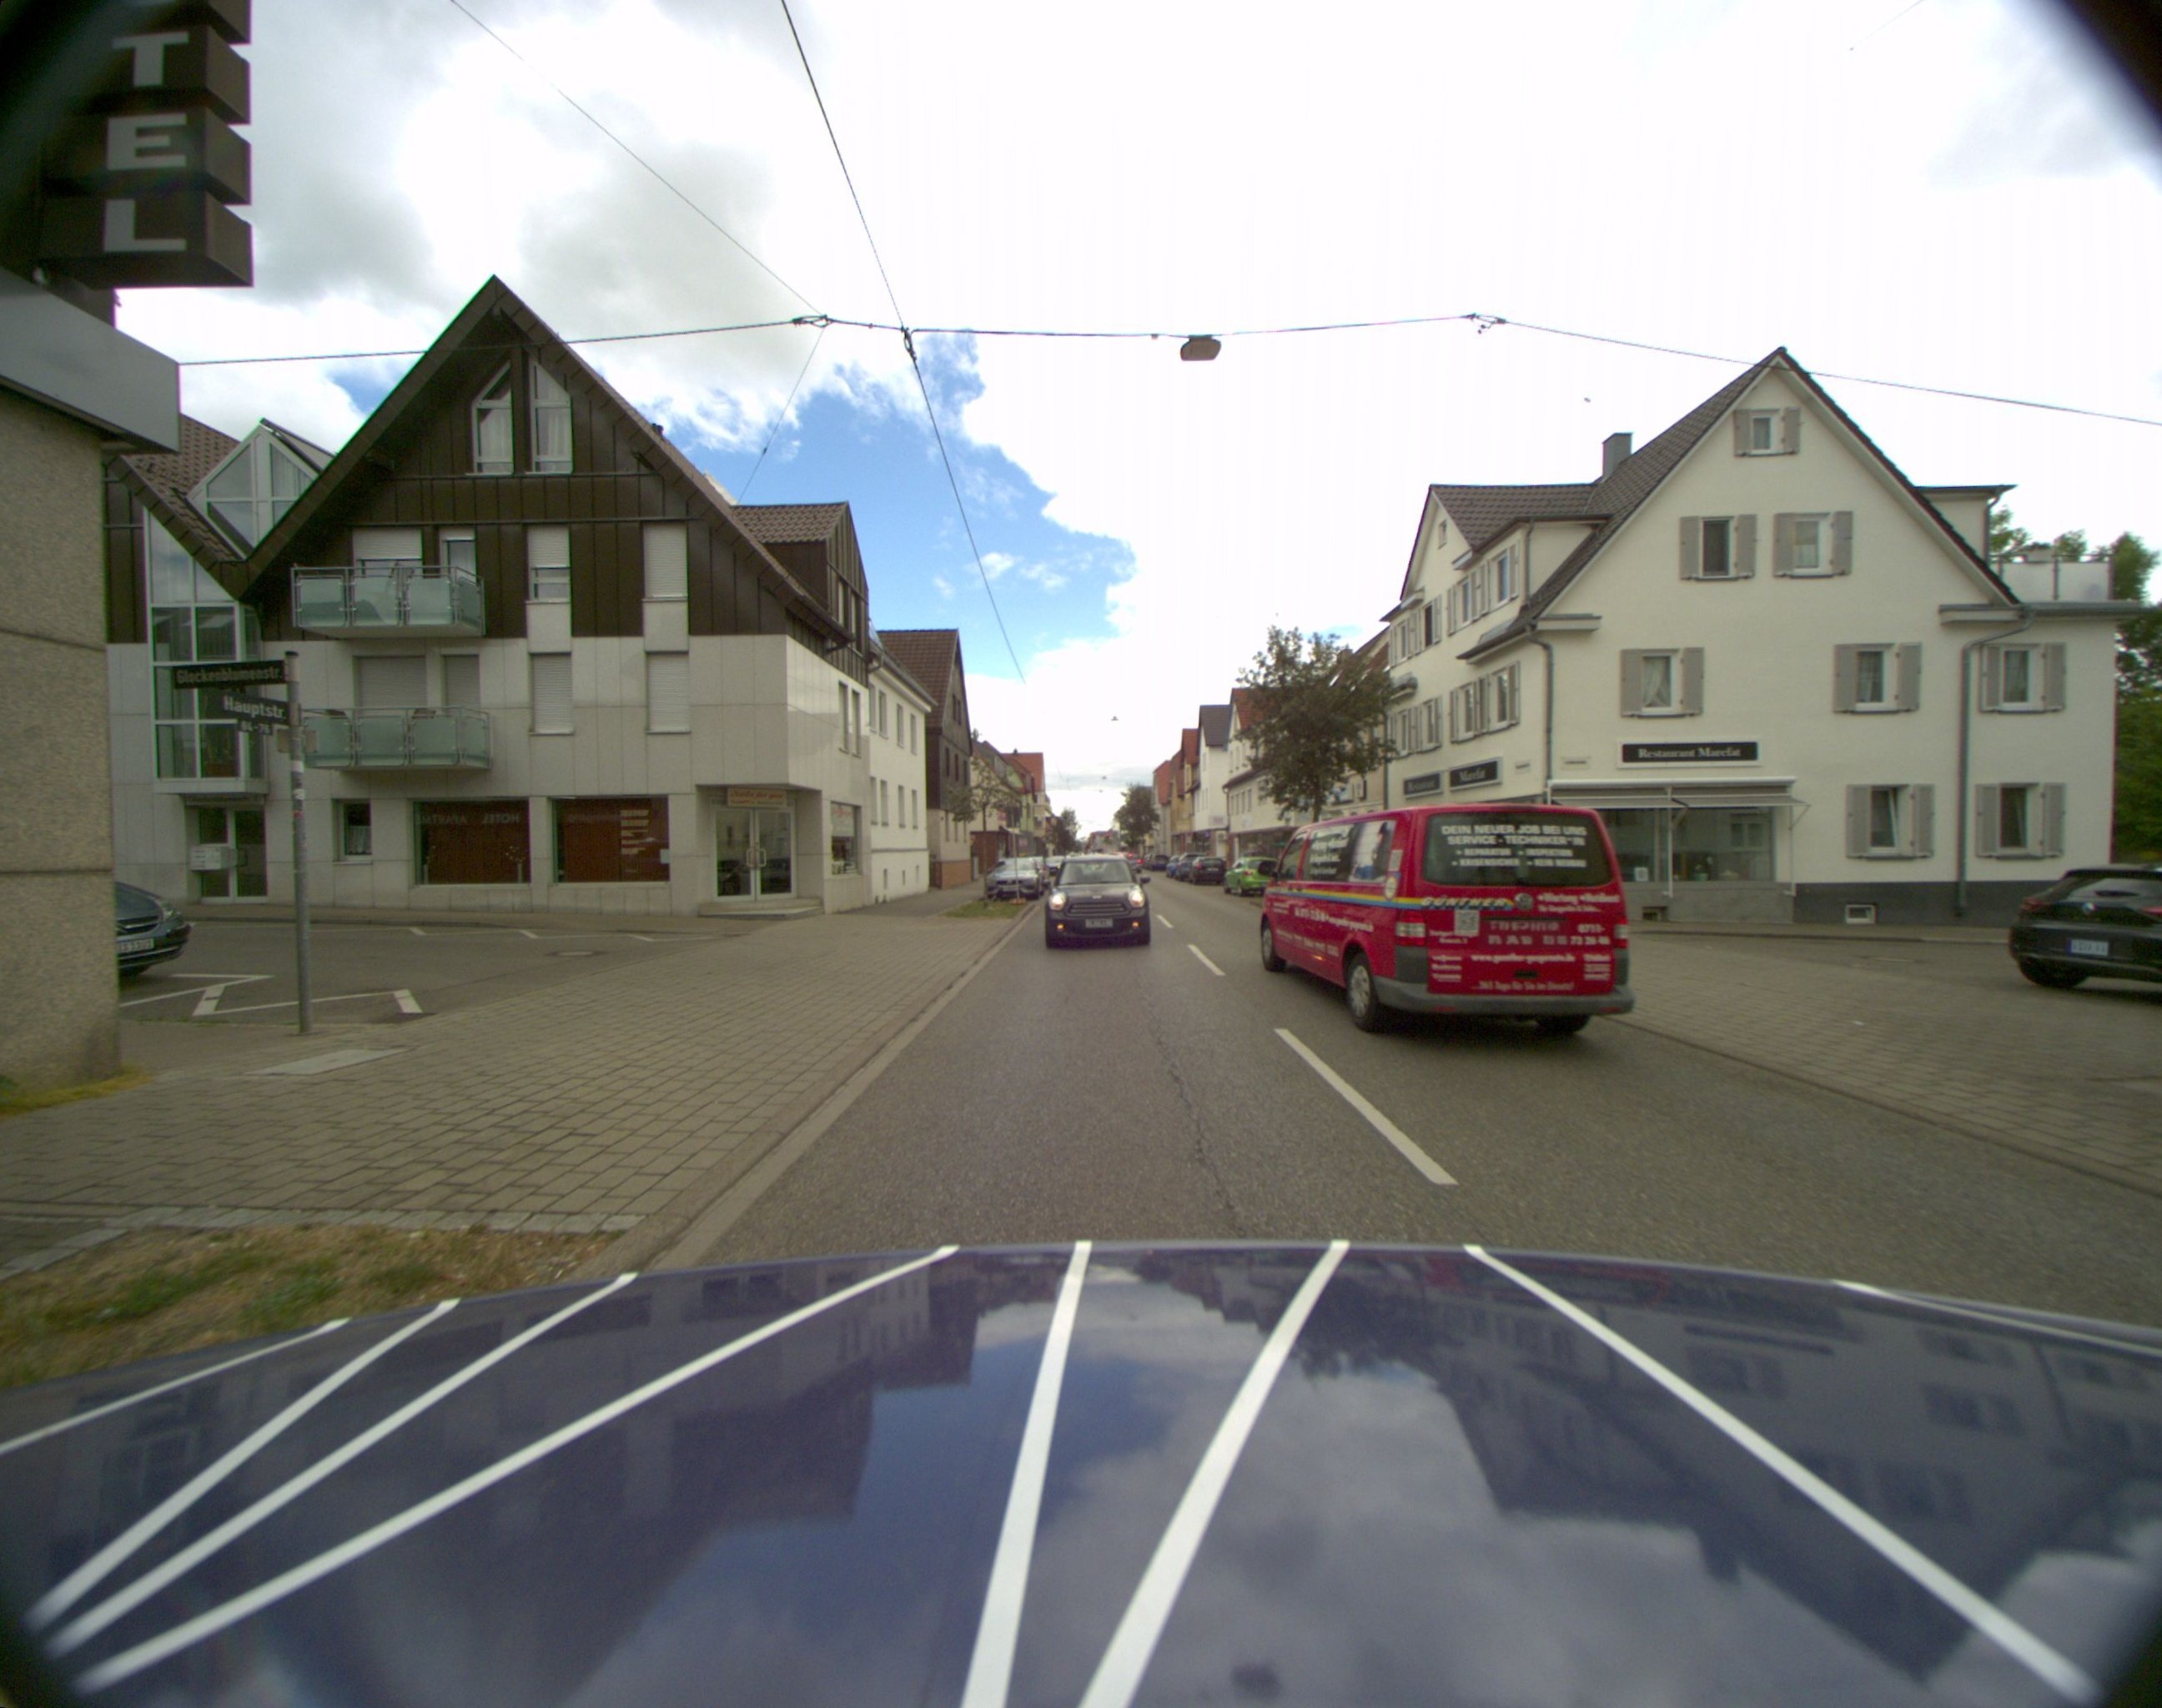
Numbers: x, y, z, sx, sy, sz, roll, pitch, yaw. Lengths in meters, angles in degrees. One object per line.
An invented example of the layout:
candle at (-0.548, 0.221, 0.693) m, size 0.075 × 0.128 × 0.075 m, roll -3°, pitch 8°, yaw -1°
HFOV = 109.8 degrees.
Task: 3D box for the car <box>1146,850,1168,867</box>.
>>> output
car at (7.115, 0.404, 71.351) m, size 1.714 × 1.557 × 4.113 m, roll 1°, pitch 1°, yaw 2°

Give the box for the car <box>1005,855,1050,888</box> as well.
car at (-2.625, 0.830, 38.349) m, size 1.835 × 1.489 × 3.993 m, roll -2°, pitch 1°, yaw 2°

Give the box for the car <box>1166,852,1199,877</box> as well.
car at (6.615, 0.651, 49.771) m, size 1.686 × 1.490 × 3.775 m, roll 1°, pitch 1°, yaw 2°

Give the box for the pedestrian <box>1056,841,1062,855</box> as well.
pedestrian at (-3.424, -0.923, 119.720) m, size 0.826 × 2.063 × 1.011 m, roll 2°, pitch 1°, yaw 3°

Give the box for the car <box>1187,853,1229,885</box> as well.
car at (6.468, 0.719, 39.033) m, size 1.585 × 1.499 × 3.812 m, roll 1°, pitch 1°, yaw 1°

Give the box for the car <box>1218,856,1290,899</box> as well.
car at (6.349, 0.813, 28.327) m, size 1.687 × 1.439 × 4.019 m, roll 1°, pitch 1°, yaw -1°

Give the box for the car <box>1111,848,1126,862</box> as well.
car at (4.839, 0.119, 98.720) m, size 1.905 × 1.727 × 4.366 m, roll 1°, pitch 1°, yaw 2°

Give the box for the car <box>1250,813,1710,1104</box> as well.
car at (3.303, 0.690, 7.811) m, size 1.953 × 1.950 × 5.222 m, roll 1°, pitch 1°, yaw 0°

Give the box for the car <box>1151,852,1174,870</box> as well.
car at (7.075, 0.547, 66.031) m, size 1.686 × 1.484 × 3.591 m, roll 1°, pitch 1°, yaw 2°

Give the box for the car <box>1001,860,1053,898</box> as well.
car at (-2.287, 1.028, 33.090) m, size 1.759 × 1.437 × 4.454 m, roll -2°, pitch 1°, yaw 2°

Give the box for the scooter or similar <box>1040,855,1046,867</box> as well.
scooter or similar at (-4.084, 0.740, 81.445) m, size 0.591 × 1.225 × 0.891 m, roll -2°, pitch 1°, yaw 0°

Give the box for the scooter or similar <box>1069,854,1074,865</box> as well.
scooter or similar at (-1.056, 0.615, 86.888) m, size 0.503 × 1.228 × 1.942 m, roll -2°, pitch 1°, yaw 0°

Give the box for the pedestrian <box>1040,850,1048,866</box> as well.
pedestrian at (-4.059, 0.403, 82.357) m, size 0.752 × 1.710 × 0.900 m, roll -2°, pitch 1°, yaw 1°

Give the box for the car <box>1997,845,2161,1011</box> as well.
car at (11.963, 0.813, 7.398) m, size 3.998 × 1.526 × 1.734 m, roll 4°, pitch 1°, yaw -2°

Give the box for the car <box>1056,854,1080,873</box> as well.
car at (-1.071, 0.786, 62.813) m, size 1.835 × 1.437 × 4.331 m, roll -2°, pitch 1°, yaw 0°

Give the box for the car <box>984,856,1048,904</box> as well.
car at (-2.307, 0.886, 27.924) m, size 1.880 × 1.530 × 4.512 m, roll -2°, pitch 1°, yaw 1°

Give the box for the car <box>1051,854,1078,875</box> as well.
car at (-1.248, 0.728, 57.163) m, size 1.836 × 1.437 × 4.108 m, roll -2°, pitch 1°, yaw -3°

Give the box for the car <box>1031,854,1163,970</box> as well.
car at (0.264, 0.846, 13.331) m, size 1.847 × 1.571 × 4.428 m, roll -3°, pitch 1°, yaw 1°

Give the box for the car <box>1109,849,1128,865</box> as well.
car at (3.761, 0.260, 77.362) m, size 1.799 × 1.569 × 4.192 m, roll 1°, pitch 0°, yaw 1°

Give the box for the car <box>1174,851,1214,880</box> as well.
car at (6.479, 0.624, 43.904) m, size 1.807 × 1.590 × 4.304 m, roll 1°, pitch 1°, yaw 2°

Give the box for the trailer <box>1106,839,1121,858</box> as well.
trailer at (5.705, -1.065, 135.784) m, size 2.509 × 3.201 × 7.134 m, roll -1°, pitch 1°, yaw 2°

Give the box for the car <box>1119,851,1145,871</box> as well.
car at (3.988, 0.543, 60.035) m, size 1.687 × 1.439 × 4.019 m, roll 1°, pitch 1°, yaw -2°
